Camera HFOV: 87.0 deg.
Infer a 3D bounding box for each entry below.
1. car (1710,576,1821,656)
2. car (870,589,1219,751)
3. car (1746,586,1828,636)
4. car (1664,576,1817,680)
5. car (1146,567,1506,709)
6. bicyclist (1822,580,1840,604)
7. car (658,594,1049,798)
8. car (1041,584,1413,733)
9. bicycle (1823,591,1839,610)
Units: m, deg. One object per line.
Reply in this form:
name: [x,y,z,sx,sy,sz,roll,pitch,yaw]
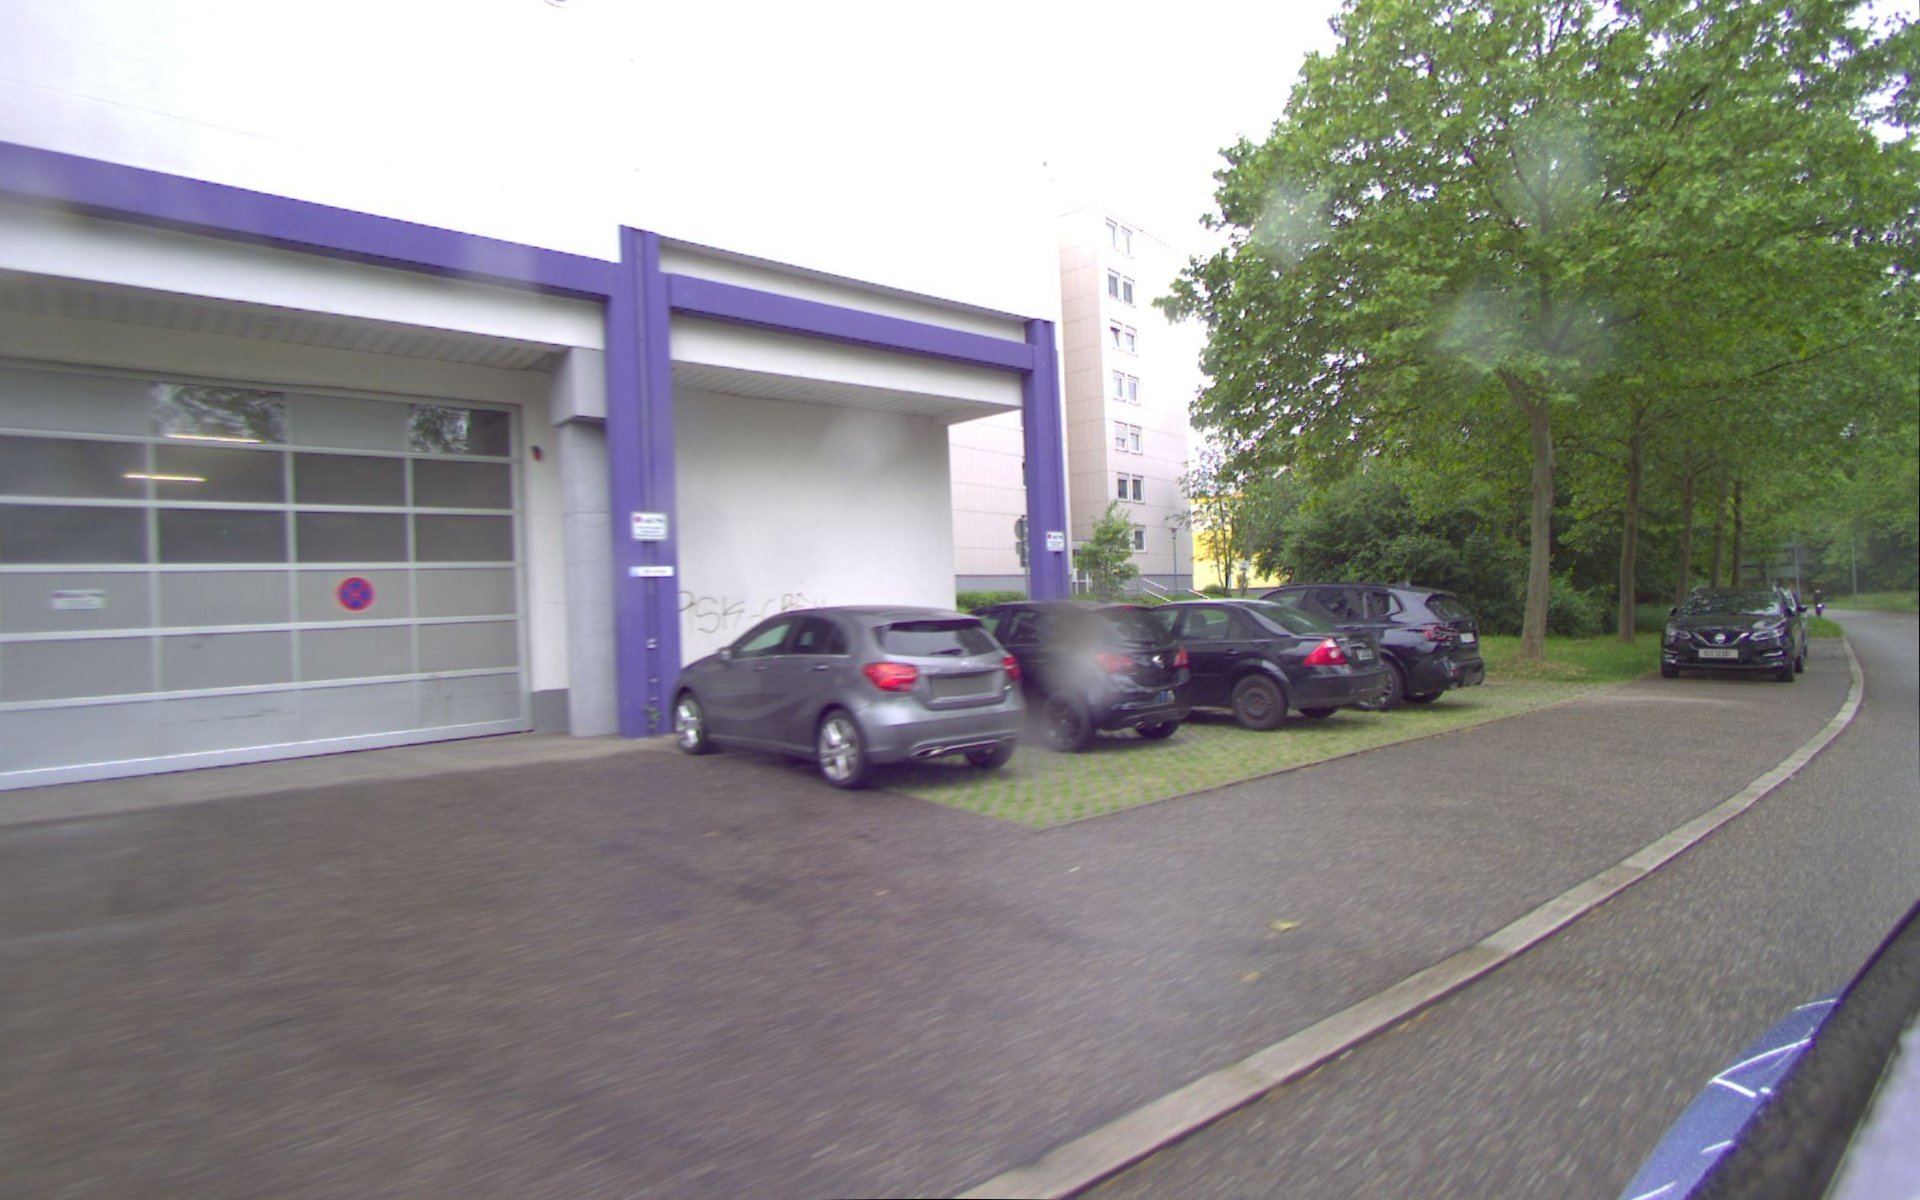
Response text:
car: [18.119,0.284,22.697,1.727,1.611,4.189,1,1,42]
car: [0.800,0.677,11.133,1.692,1.471,3.618,0,-2,-43]
car: [25.205,0.295,30.792,1.796,1.389,3.688,0,1,42]
car: [13.981,0.409,18.024,1.800,1.622,4.304,0,1,42]
car: [5.018,0.513,14.334,4.470,1.702,1.739,-2,-2,44]
bicyclist: [54.764,-0.496,63.643,0.693,1.516,0.790,-3,-2,34]
car: [-1.186,0.738,9.480,1.691,1.471,3.944,-1,0,-41]
car: [3.136,0.631,12.451,4.106,1.497,1.695,-2,0,44]
bicycle: [54.776,0.028,63.633,0.450,1.149,1.811,-4,-2,33]
